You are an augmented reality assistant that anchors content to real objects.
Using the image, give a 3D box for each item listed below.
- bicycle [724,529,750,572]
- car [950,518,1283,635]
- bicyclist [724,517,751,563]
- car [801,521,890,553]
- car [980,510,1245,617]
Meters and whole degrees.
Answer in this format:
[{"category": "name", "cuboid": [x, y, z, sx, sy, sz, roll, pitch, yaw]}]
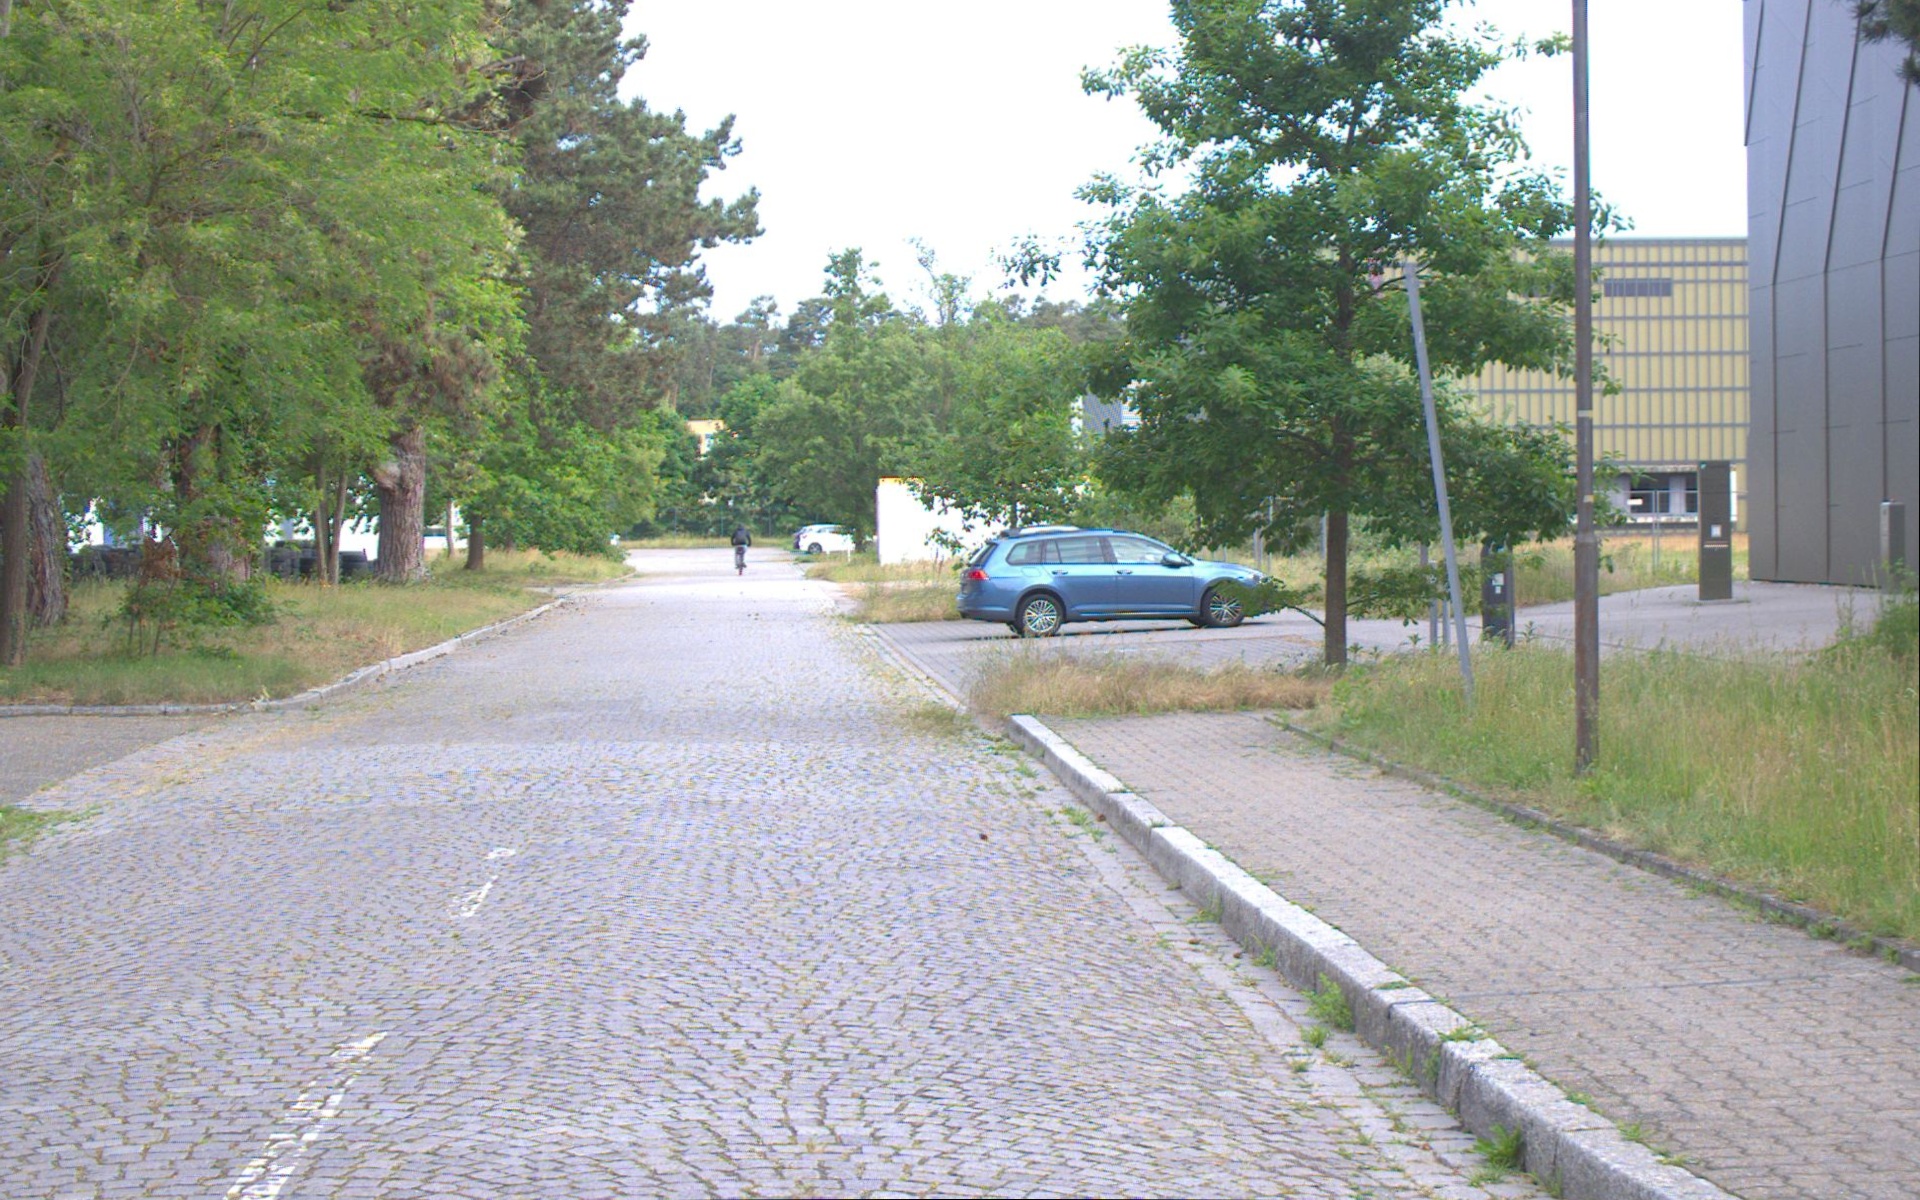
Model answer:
[{"category": "bicycle", "cuboid": [-7.515, -1.672, 115.921, 0.823, 1.372, 2.043, 0, 2, -5]}, {"category": "car", "cuboid": [2.210, -0.359, 49.232, 4.480, 1.457, 1.935, -2, 1, -6]}, {"category": "bicyclist", "cuboid": [-7.509, -2.037, 115.922, 0.897, 1.536, 0.868, 0, 2, -4]}, {"category": "car", "cuboid": [-5.629, -3.089, 168.794, 4.321, 1.544, 2.000, -1, 1, -2]}, {"category": "car", "cuboid": [2.490, -0.614, 56.710, 4.106, 1.567, 1.765, -2, 1, -6]}]
